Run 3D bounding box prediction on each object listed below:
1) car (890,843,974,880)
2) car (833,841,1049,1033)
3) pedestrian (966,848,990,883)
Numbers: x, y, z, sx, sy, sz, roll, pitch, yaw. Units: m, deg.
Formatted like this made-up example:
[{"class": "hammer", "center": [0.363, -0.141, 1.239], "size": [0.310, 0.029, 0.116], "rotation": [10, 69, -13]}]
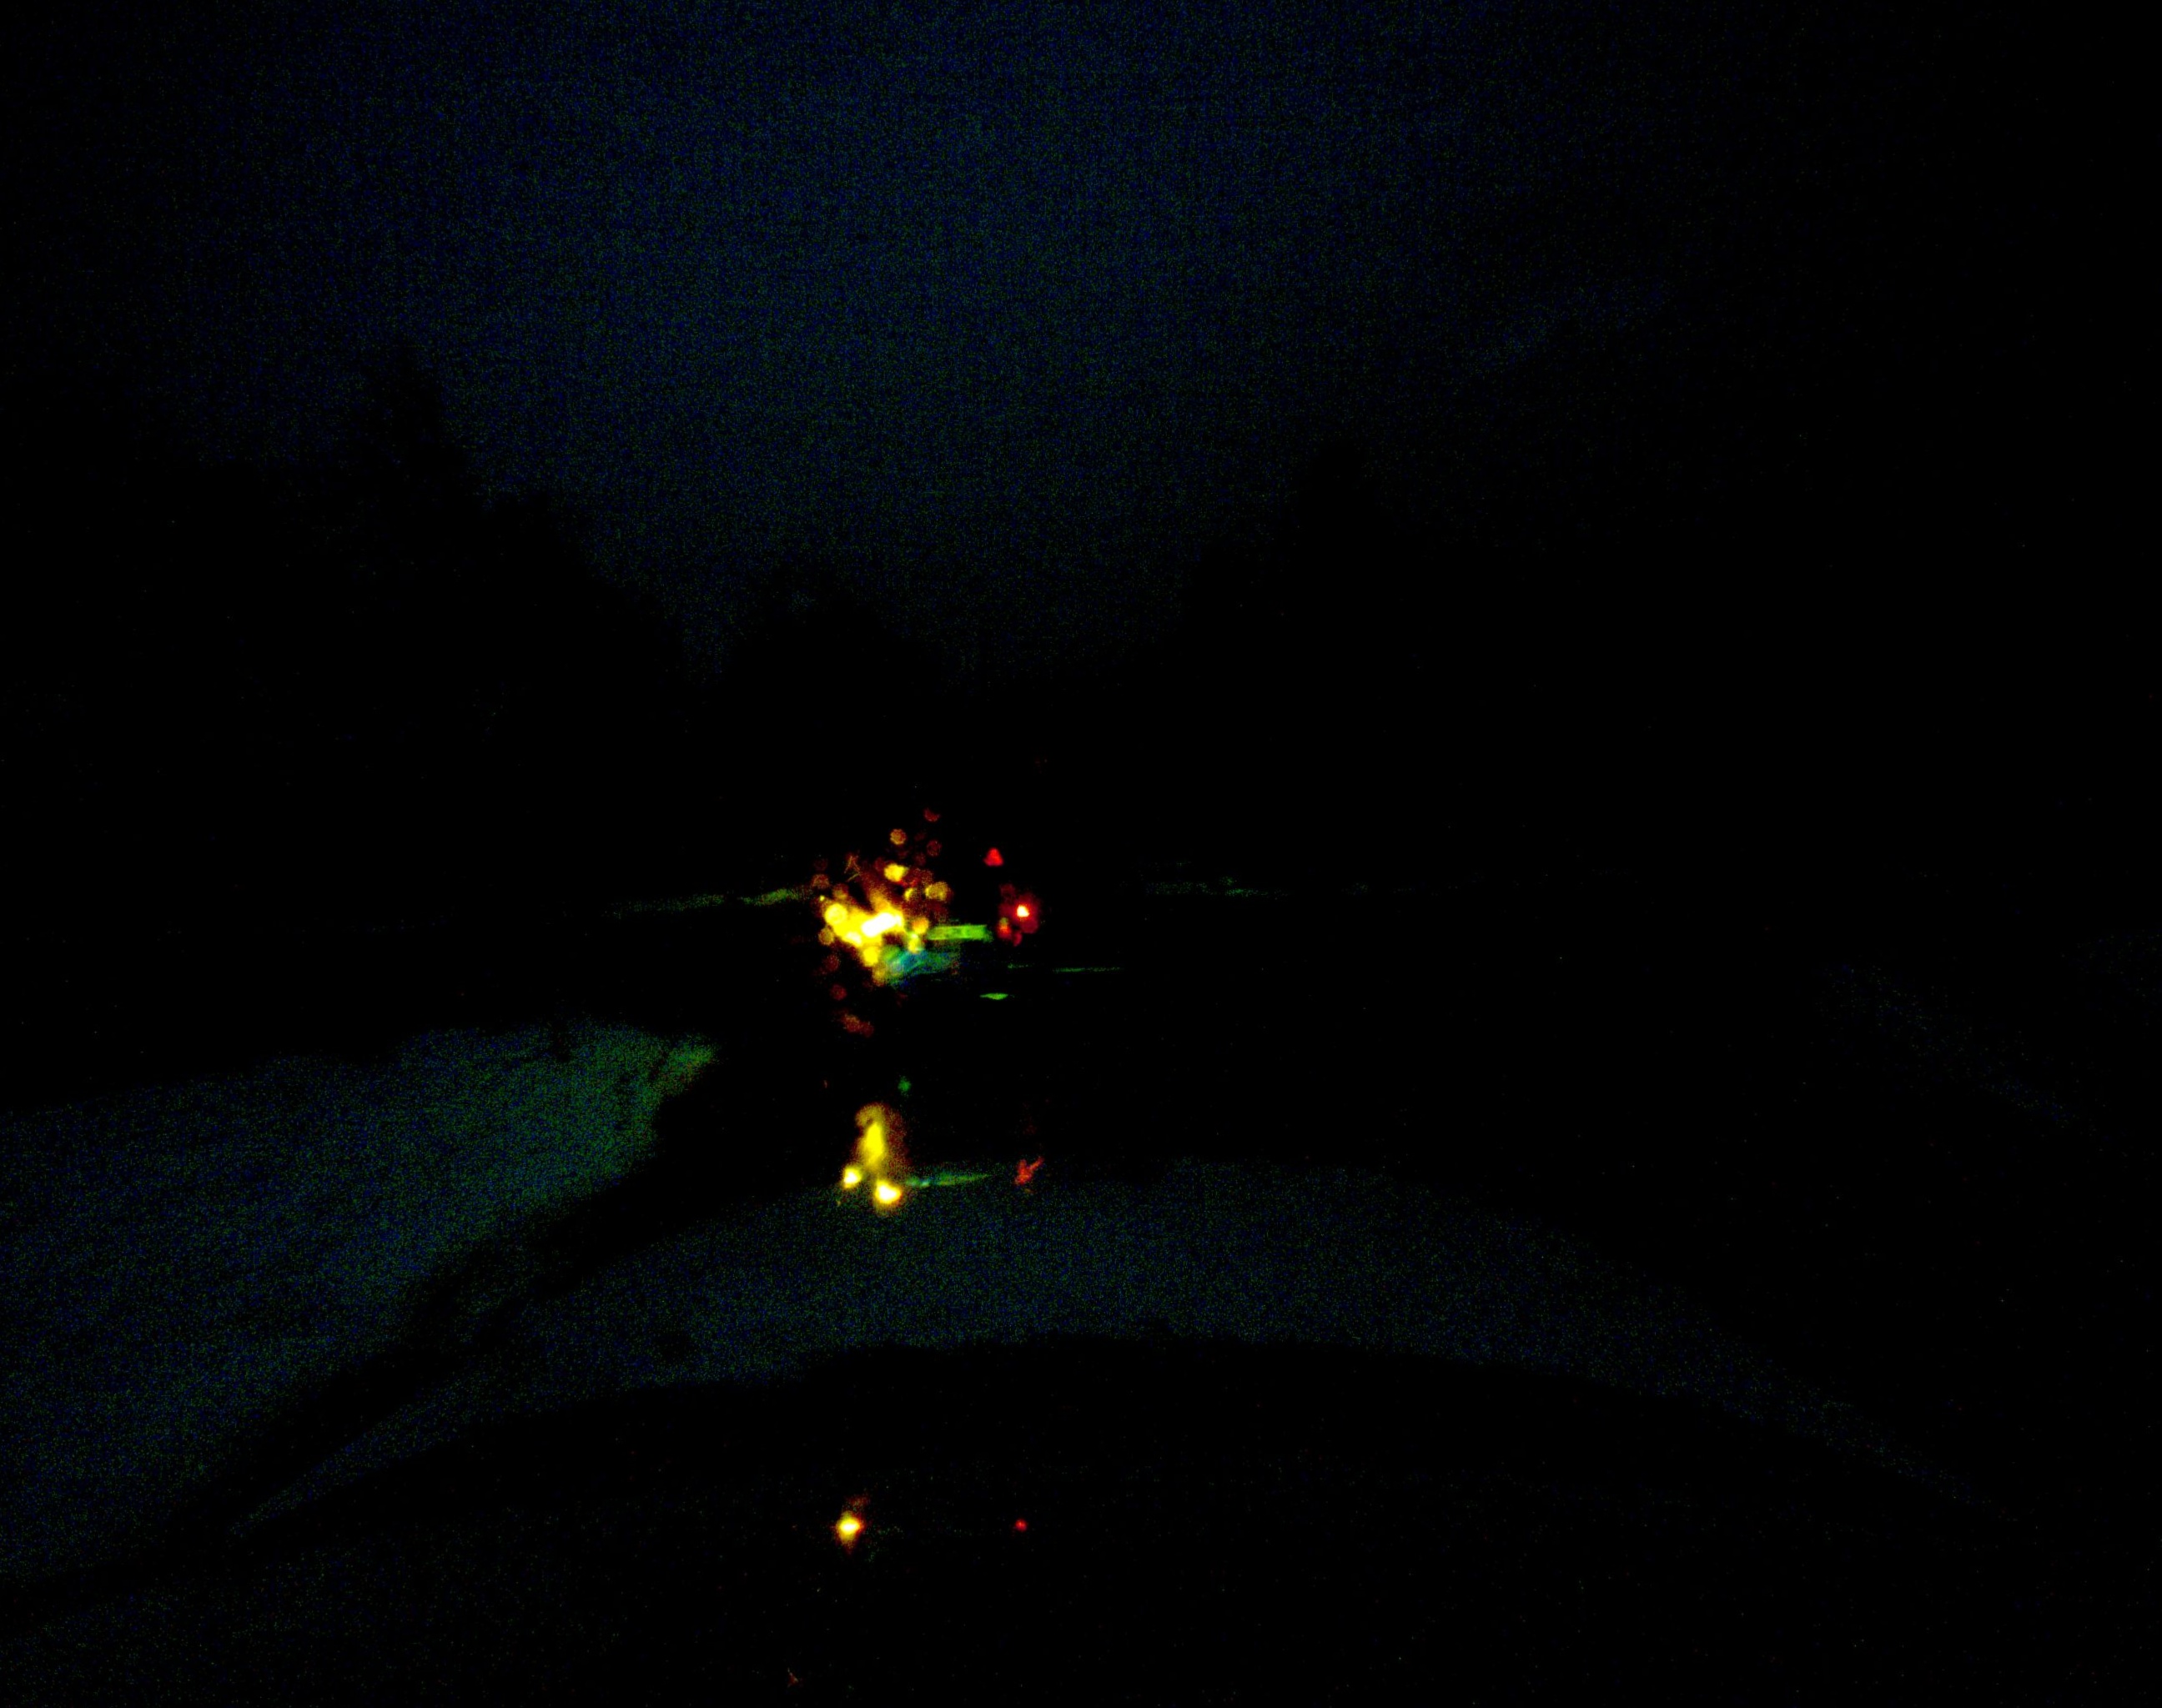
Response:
[{"class": "car", "center": [-7.862, 0.431, 43.155], "size": [3.923, 1.881, 2.005], "rotation": [-1, -1, 9]}, {"class": "car", "center": [-1.700, 0.669, 8.704], "size": [1.697, 1.552, 3.831], "rotation": [0, 0, -19]}, {"class": "pedestrian", "center": [-5.388, 0.608, 42.451], "size": [0.953, 1.828, 0.928], "rotation": [-1, -1, 14]}]
